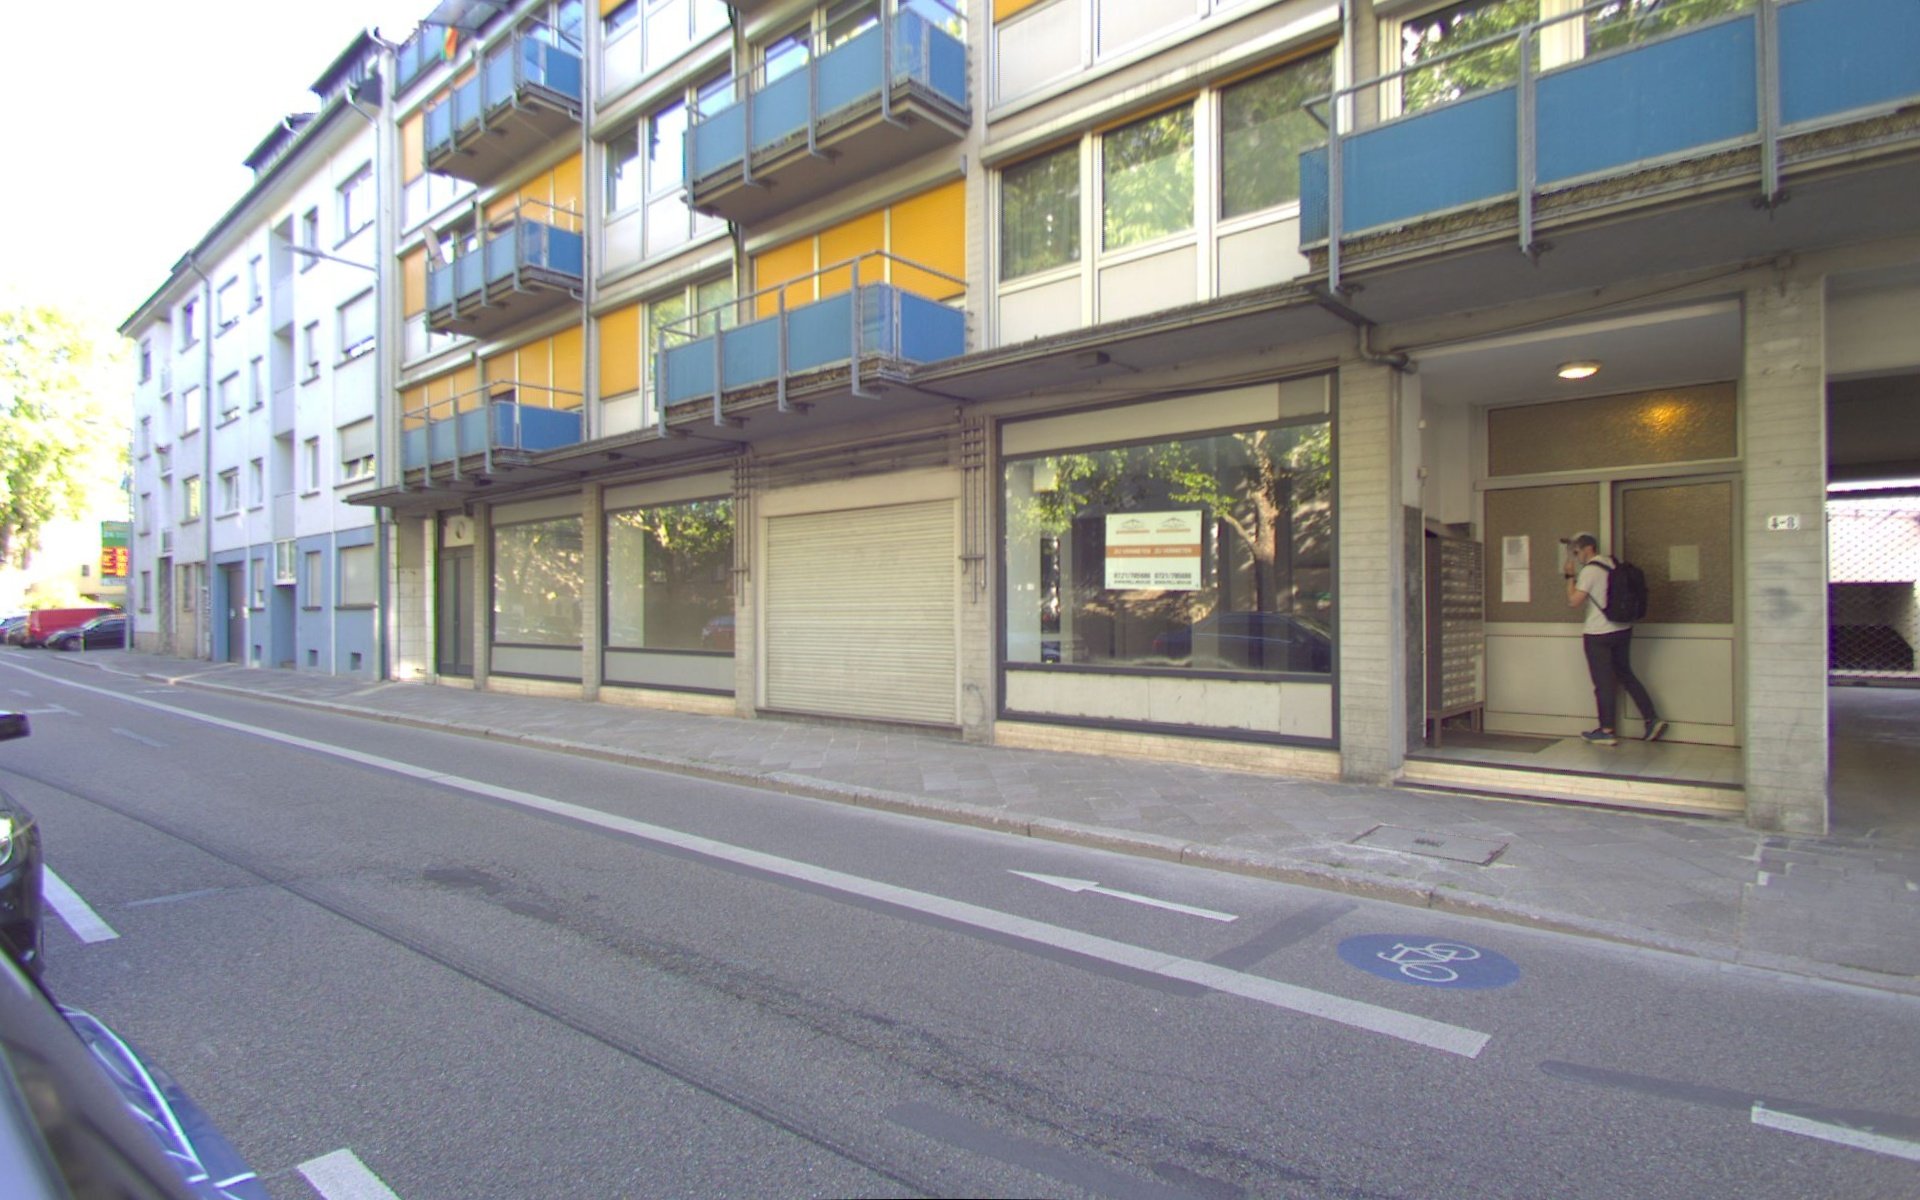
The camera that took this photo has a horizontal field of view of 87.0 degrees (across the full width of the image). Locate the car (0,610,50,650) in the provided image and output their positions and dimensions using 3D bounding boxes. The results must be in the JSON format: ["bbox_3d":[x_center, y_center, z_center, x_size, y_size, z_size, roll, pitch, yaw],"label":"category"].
[{"bbox_3d":[-62.795,1.959,66.782,2.000,2.538,3.944,-1,0,42],"label":"car"}]

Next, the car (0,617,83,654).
[{"bbox_3d":[-53.517,2.038,58.609,2.000,1.962,3.944,-1,0,42],"label":"car"}]

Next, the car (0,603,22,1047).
[{"bbox_3d":[-5.521,0.806,4.274,4.479,1.512,1.842,-1,-1,41],"label":"car"}]

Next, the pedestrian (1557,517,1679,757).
[{"bbox_3d":[5.460,0.296,8.438,0.783,1.894,0.576,-1,0,29],"label":"pedestrian"}]

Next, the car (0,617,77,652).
[{"bbox_3d":[-55.598,2.065,60.562,2.000,1.962,3.944,-1,0,42],"label":"car"}]

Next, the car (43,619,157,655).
[{"bbox_3d":[-41.172,1.745,48.523,2.000,1.564,3.944,-1,0,42],"label":"car"}]

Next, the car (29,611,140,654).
[{"bbox_3d":[-43.427,1.575,50.248,2.000,1.962,3.944,-1,0,42],"label":"car"}]

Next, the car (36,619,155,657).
[{"bbox_3d":[-39.754,1.726,46.602,2.000,1.564,3.944,-1,0,42],"label":"car"}]

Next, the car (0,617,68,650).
[{"bbox_3d":[-59.203,2.111,64.013,2.000,1.962,3.944,-1,0,42],"label":"car"}]

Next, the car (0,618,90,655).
[{"bbox_3d":[-51.567,2.012,56.826,2.000,1.962,3.944,-1,0,42],"label":"car"}]
